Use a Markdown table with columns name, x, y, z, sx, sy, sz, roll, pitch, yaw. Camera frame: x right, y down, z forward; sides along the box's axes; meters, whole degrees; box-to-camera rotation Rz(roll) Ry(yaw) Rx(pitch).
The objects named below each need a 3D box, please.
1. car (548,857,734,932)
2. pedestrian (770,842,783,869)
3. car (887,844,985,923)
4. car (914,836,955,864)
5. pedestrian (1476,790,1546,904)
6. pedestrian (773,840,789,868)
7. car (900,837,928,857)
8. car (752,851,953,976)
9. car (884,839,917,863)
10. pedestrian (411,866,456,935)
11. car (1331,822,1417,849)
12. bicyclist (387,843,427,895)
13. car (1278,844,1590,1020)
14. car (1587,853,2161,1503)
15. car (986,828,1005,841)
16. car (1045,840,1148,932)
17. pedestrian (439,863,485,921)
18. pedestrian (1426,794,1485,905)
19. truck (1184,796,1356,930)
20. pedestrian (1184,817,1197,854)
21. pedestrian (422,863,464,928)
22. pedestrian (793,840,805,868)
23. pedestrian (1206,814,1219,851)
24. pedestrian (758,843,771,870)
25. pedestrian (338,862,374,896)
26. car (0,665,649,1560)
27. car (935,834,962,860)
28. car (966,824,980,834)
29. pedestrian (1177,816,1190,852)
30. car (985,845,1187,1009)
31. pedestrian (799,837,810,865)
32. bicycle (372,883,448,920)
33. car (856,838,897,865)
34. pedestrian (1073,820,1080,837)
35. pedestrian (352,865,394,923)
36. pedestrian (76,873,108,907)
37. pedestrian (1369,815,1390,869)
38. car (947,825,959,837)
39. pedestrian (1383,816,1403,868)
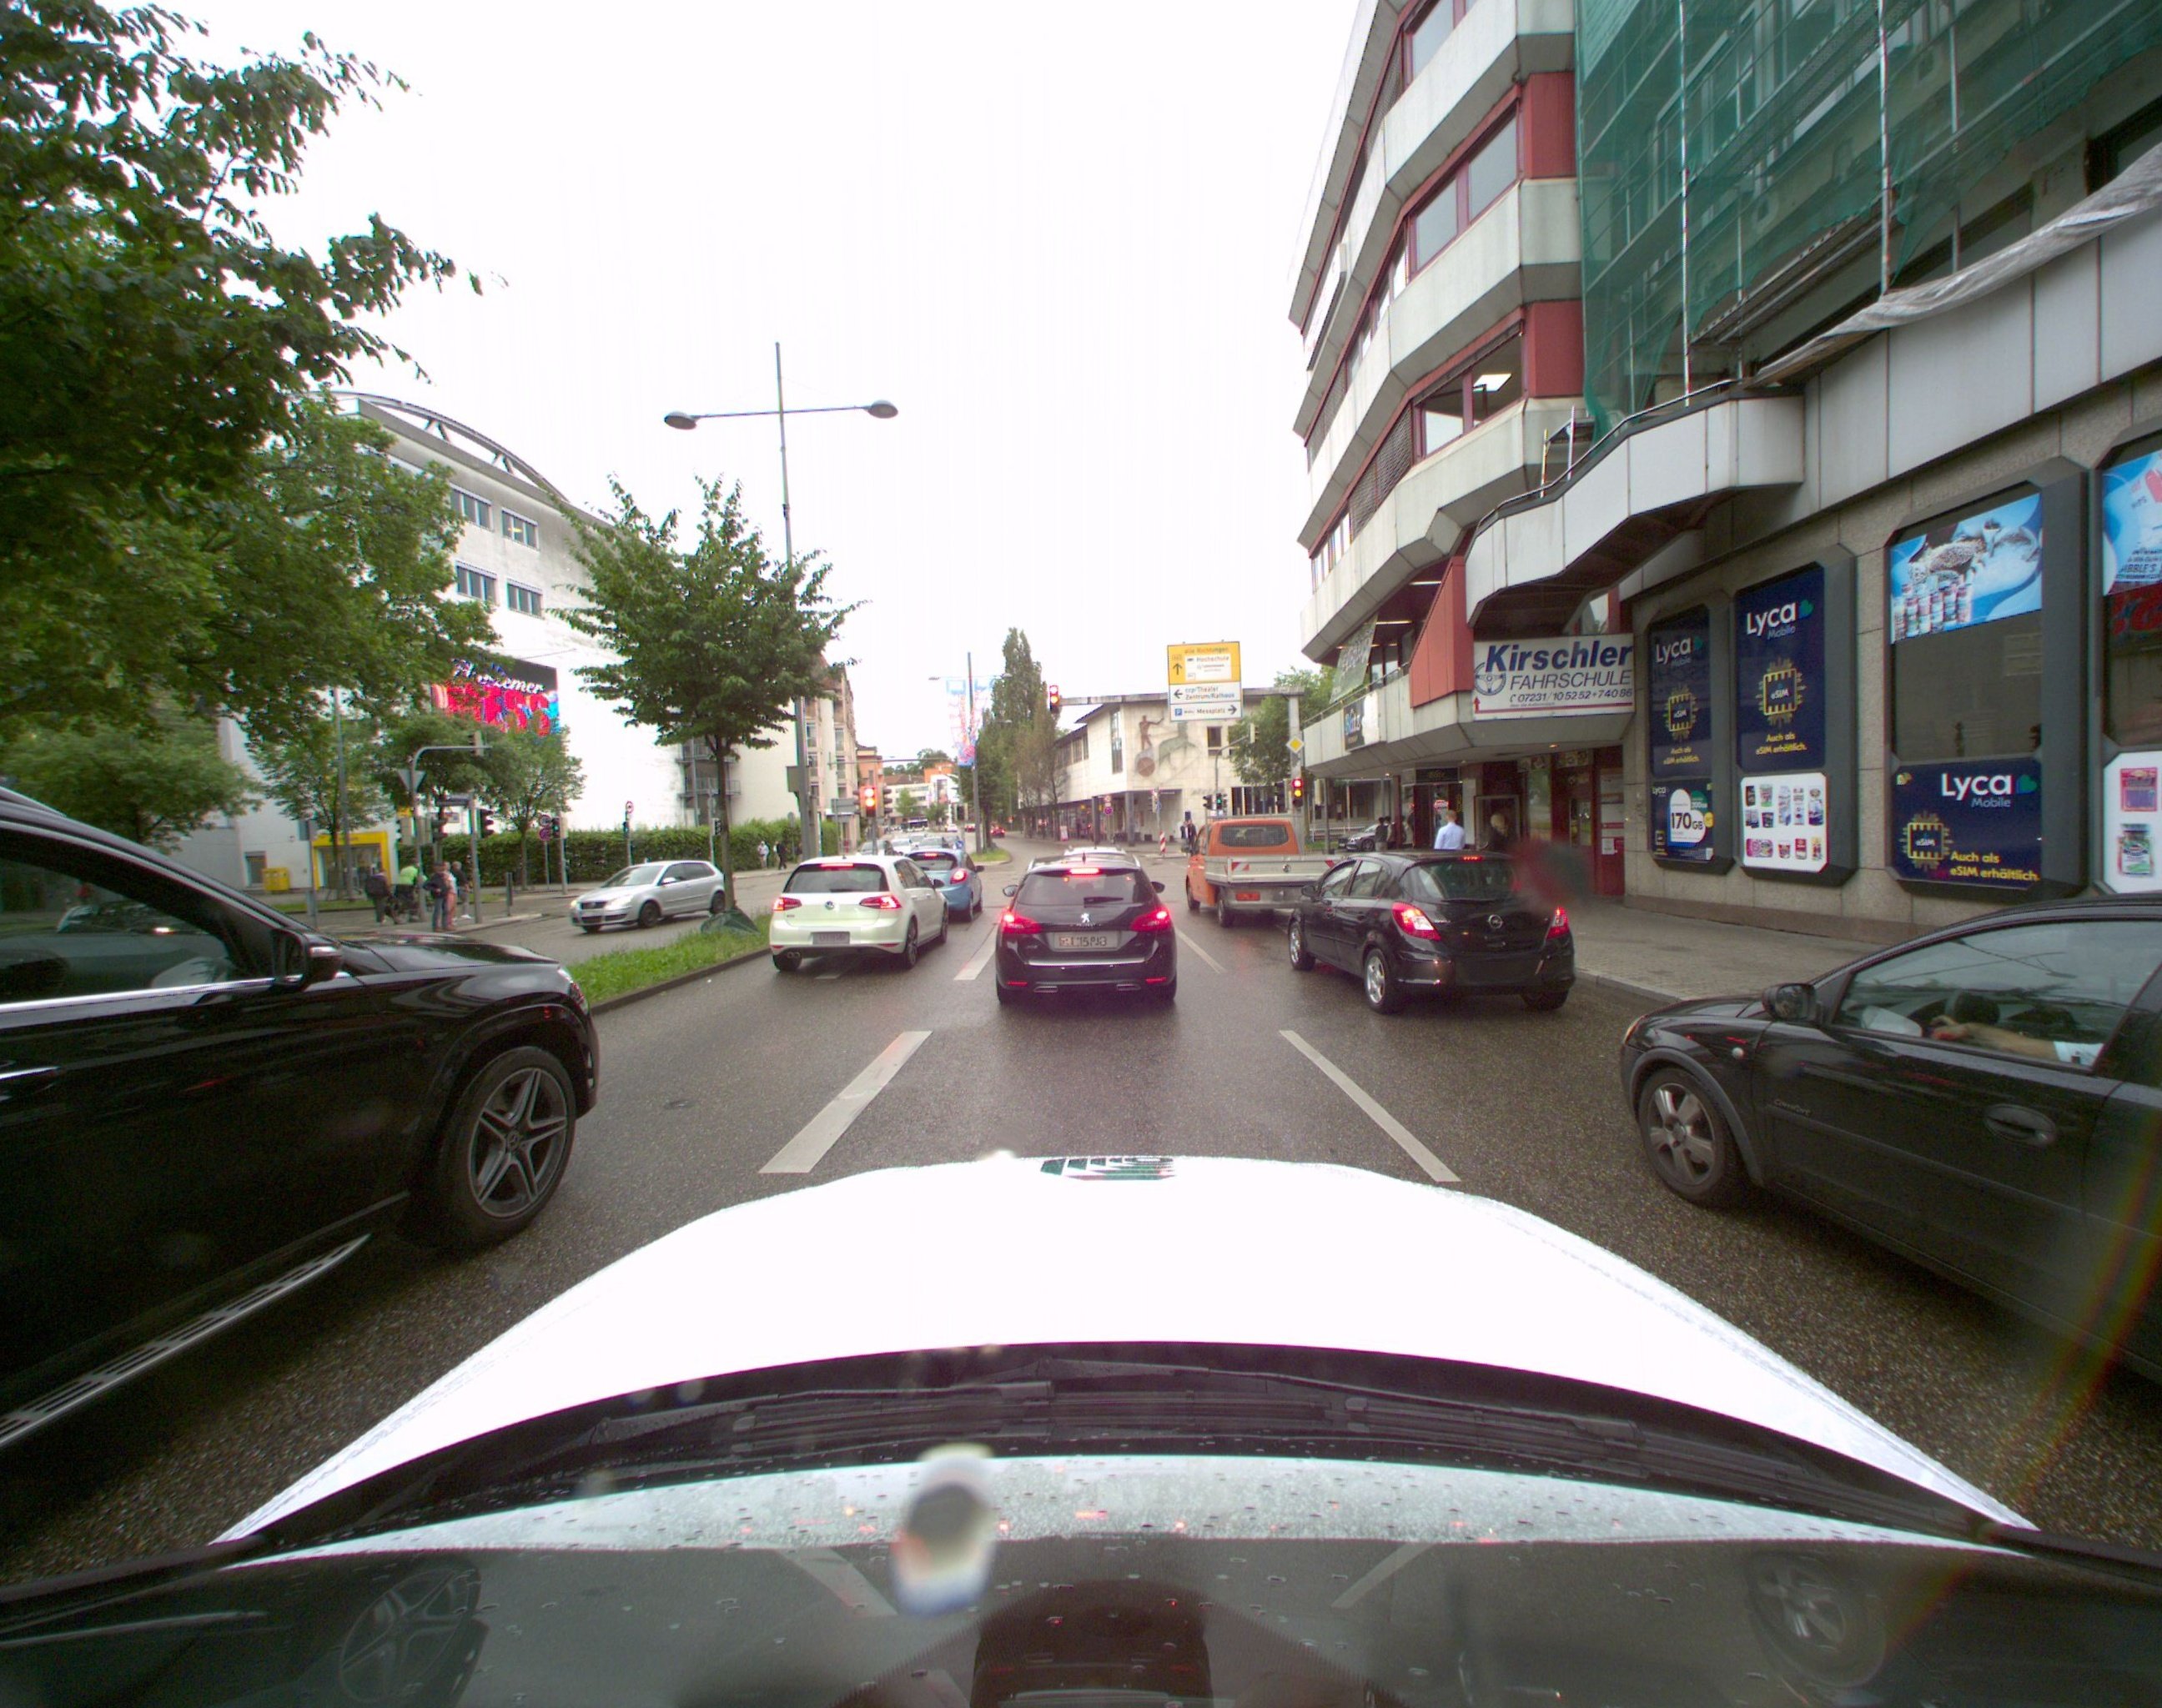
| name | x | y | z | sx | sy | sz | roll | pitch | yaw |
| --- | --- | --- | --- | --- | --- | --- | --- | --- | --- |
| car | -10.087 | 0.871 | 19.015 | 1.621 | 1.468 | 3.767 | -5 | -1 | 13 |
| pedestrian | -18.334 | 0.083 | 49.029 | 0.579 | 1.599 | 0.526 | -1 | -1 | -5 |
| car | -3.034 | 0.550 | 17.697 | 1.629 | 1.486 | 3.606 | -1 | 1 | -3 |
| car | -8.643 | -0.205 | 48.297 | 1.739 | 1.579 | 3.997 | -1 | -1 | -1 |
| pedestrian | 7.641 | -0.119 | 14.499 | 0.733 | 1.934 | 0.640 | -5 | -1 | 1 |
| pedestrian | -17.773 | 0.018 | 48.299 | 0.634 | 1.643 | 0.735 | -1 | -1 | 5 |
| car | -12.618 | -0.540 | 61.664 | 1.630 | 1.486 | 3.604 | -1 | 1 | -4 |
| car | -3.034 | 0.705 | 11.654 | 1.772 | 1.429 | 3.841 | -1 | 1 | 0 |
| car | -12.069 | -0.223 | 54.557 | 1.630 | 1.486 | 3.604 | -1 | 1 | -4 |
| pedestrian | -16.391 | 1.169 | 20.629 | 0.555 | 1.661 | 0.580 | -2 | 2 | 2 |
| car | 14.403 | -0.882 | 40.188 | 3.669 | 1.212 | 1.839 | -1 | -1 | 6 |
| bicyclist | -20.317 | 0.450 | 24.572 | 0.629 | 1.530 | 0.609 | -3 | -1 | 1 |
| car | 3.396 | 0.621 | 8.669 | 1.611 | 1.429 | 3.840 | -1 | 1 | -1 |
| car | 3.273 | 0.743 | 2.289 | 1.600 | 1.429 | 3.626 | -1 | 1 | 3 |
| car | -11.179 | -2.564 | 106.233 | 1.790 | 1.454 | 4.485 | -5 | 3 | -14 |
| car | 0.306 | 0.504 | 15.378 | 1.690 | 1.486 | 3.795 | -1 | 1 | 2 |
| pedestrian | -18.285 | 1.116 | 24.065 | 0.750 | 1.661 | 0.628 | -2 | 2 | 1 |
| pedestrian | 6.706 | -0.079 | 14.596 | 0.733 | 1.935 | 0.640 | -1 | -1 | 1 |
| truck | 3.439 | 0.093 | 15.936 | 2.170 | 2.172 | 5.020 | -1 | 1 | 0 |
| pedestrian | 5.751 | -0.949 | 42.914 | 0.633 | 1.897 | 0.735 | -1 | -1 | 8 |
| pedestrian | -17.007 | 1.107 | 21.730 | 0.555 | 1.661 | 0.580 | -2 | 2 | 2 |
| pedestrian | -17.528 | 0.018 | 50.612 | 0.538 | 1.748 | 0.745 | 0 | -1 | -7 |
| pedestrian | 6.878 | -1.092 | 42.483 | 0.633 | 1.897 | 0.735 | -1 | -1 | 8 |
| pedestrian | -18.748 | 0.156 | 48.186 | 0.579 | 1.599 | 0.526 | -1 | -1 | -5 |
| pedestrian | -35.056 | 1.207 | 39.377 | 1.059 | 1.578 | 0.683 | -1 | -1 | -3 |
| car | -3.217 | 0.548 | 1.657 | 1.905 | 1.870 | 5.073 | -1 | -1 | 1 |
| car | -8.943 | -0.412 | 55.082 | 1.743 | 1.640 | 3.988 | 0 | -1 | -9 |
| car | -18.499 | -4.250 | 139.593 | 1.729 | 1.490 | 4.705 | 0 | -1 | -17 |
| pedestrian | 5.150 | -1.010 | 40.905 | 0.633 | 1.758 | 0.735 | -1 | -1 | 8 |
| car | 0.123 | 0.632 | 9.142 | 1.771 | 1.429 | 3.845 | -1 | 1 | 2 |
| pedestrian | -17.717 | -0.175 | 52.243 | 0.538 | 1.748 | 0.564 | -1 | -1 | -3 |
| bicycle | -20.258 | 1.409 | 24.639 | 0.613 | 1.000 | 1.941 | -3 | -1 | 2 |
| car | -11.883 | -0.192 | 47.496 | 1.569 | 1.486 | 3.608 | -1 | 1 | -1 |
| pedestrian | -0.460 | -2.570 | 82.987 | 0.469 | 1.748 | 0.537 | 0 | -1 | -19 |
| pedestrian | -21.324 | 1.204 | 24.529 | 0.637 | 1.666 | 0.580 | -2 | 2 | 1 |
| pedestrian | -48.245 | 1.768 | 39.739 | 0.633 | 1.643 | 0.735 | -1 | -1 | 8 |
| pedestrian | 9.585 | -0.373 | 26.141 | 0.424 | 1.682 | 0.450 | -3 | -1 | 0 |
| car | -23.109 | -4.150 | 146.831 | 1.709 | 1.882 | 3.979 | 0 | -1 | -15 |
| pedestrian | 10.152 | -0.382 | 26.512 | 0.395 | 1.640 | 0.504 | -3 | -1 | 2 |
